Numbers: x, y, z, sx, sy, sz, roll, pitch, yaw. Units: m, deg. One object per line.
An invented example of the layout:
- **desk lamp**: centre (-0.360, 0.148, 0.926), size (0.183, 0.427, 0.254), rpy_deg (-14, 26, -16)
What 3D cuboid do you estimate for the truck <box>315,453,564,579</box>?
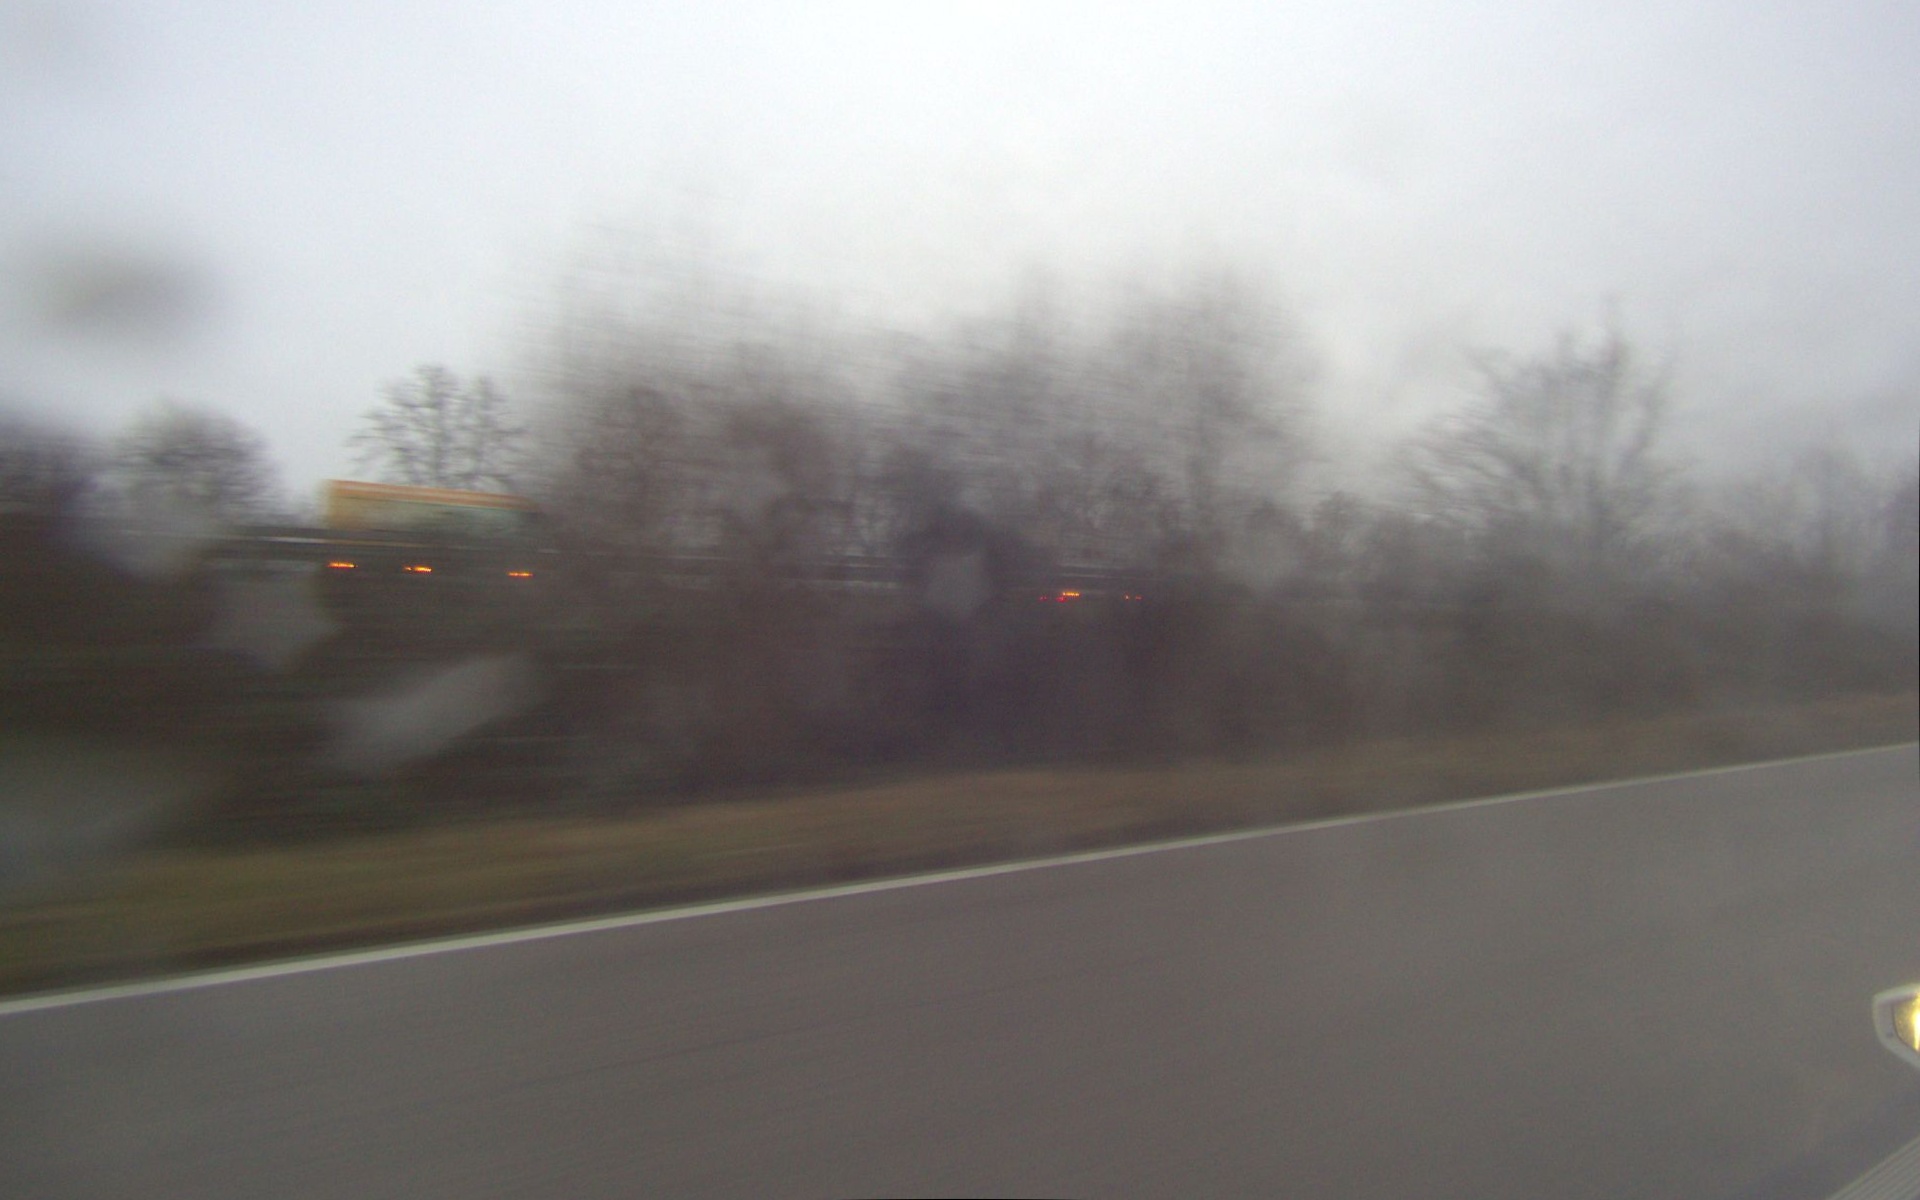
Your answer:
- **truck**: centre (-11.684, -1.770, 22.749), size (4.773, 2.374, 1.983), rpy_deg (2, 0, -31)
